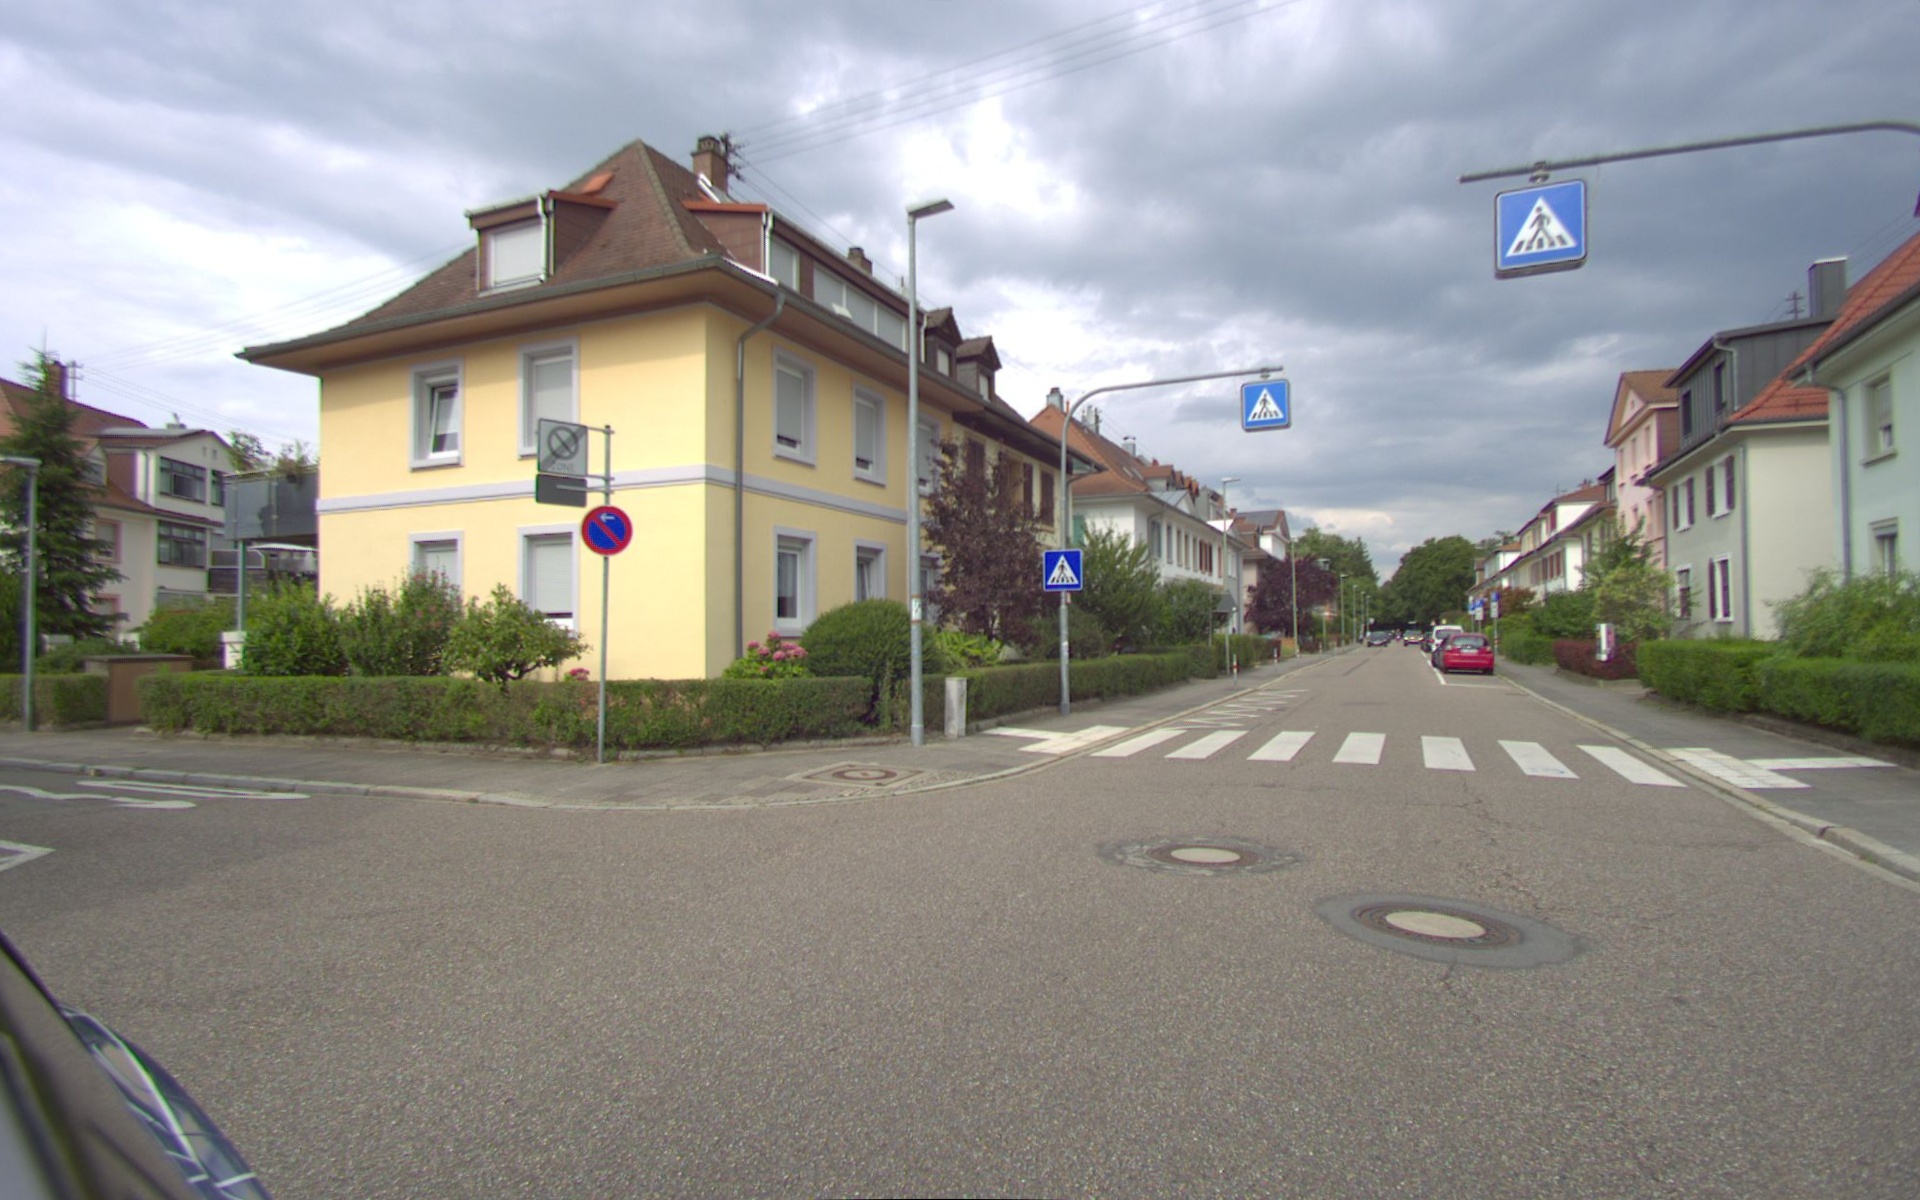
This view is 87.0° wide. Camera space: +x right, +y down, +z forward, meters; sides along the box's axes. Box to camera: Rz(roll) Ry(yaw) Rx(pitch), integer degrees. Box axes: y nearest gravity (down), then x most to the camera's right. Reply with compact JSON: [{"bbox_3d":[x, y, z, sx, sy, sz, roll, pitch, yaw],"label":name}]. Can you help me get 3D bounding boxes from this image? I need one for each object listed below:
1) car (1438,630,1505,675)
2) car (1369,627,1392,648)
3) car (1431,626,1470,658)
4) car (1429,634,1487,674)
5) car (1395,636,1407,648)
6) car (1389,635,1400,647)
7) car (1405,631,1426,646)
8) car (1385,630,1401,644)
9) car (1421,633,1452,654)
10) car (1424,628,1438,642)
[{"bbox_3d":[19.015,1.916,37.769,1.988,1.586,3.967,-1,-2,24],"label":"car"},{"bbox_3d":[42.205,3.722,101.460,1.988,2.029,3.967,-1,-2,24],"label":"car"},{"bbox_3d":[30.592,2.594,63.201,1.988,1.918,3.967,-2,-2,24],"label":"car"},{"bbox_3d":[20.907,2.240,42.598,1.988,1.586,3.967,-1,-2,24],"label":"car"},{"bbox_3d":[72.954,6.907,167.273,1.618,2.029,3.879,-1,-2,21],"label":"car"},{"bbox_3d":[76.426,7.250,178.012,1.618,2.029,3.879,-1,-2,21],"label":"car"},{"bbox_3d":[46.474,3.935,103.281,1.825,1.497,3.969,0,-2,23],"label":"car"},{"bbox_3d":[58.230,4.983,136.020,1.801,1.894,3.916,-2,-2,24],"label":"car"},{"bbox_3d":[35.992,3.277,76.507,1.988,1.586,3.967,-1,-2,24],"label":"car"},{"bbox_3d":[74.217,5.525,159.534,1.988,2.029,3.967,0,-2,24],"label":"car"}]
